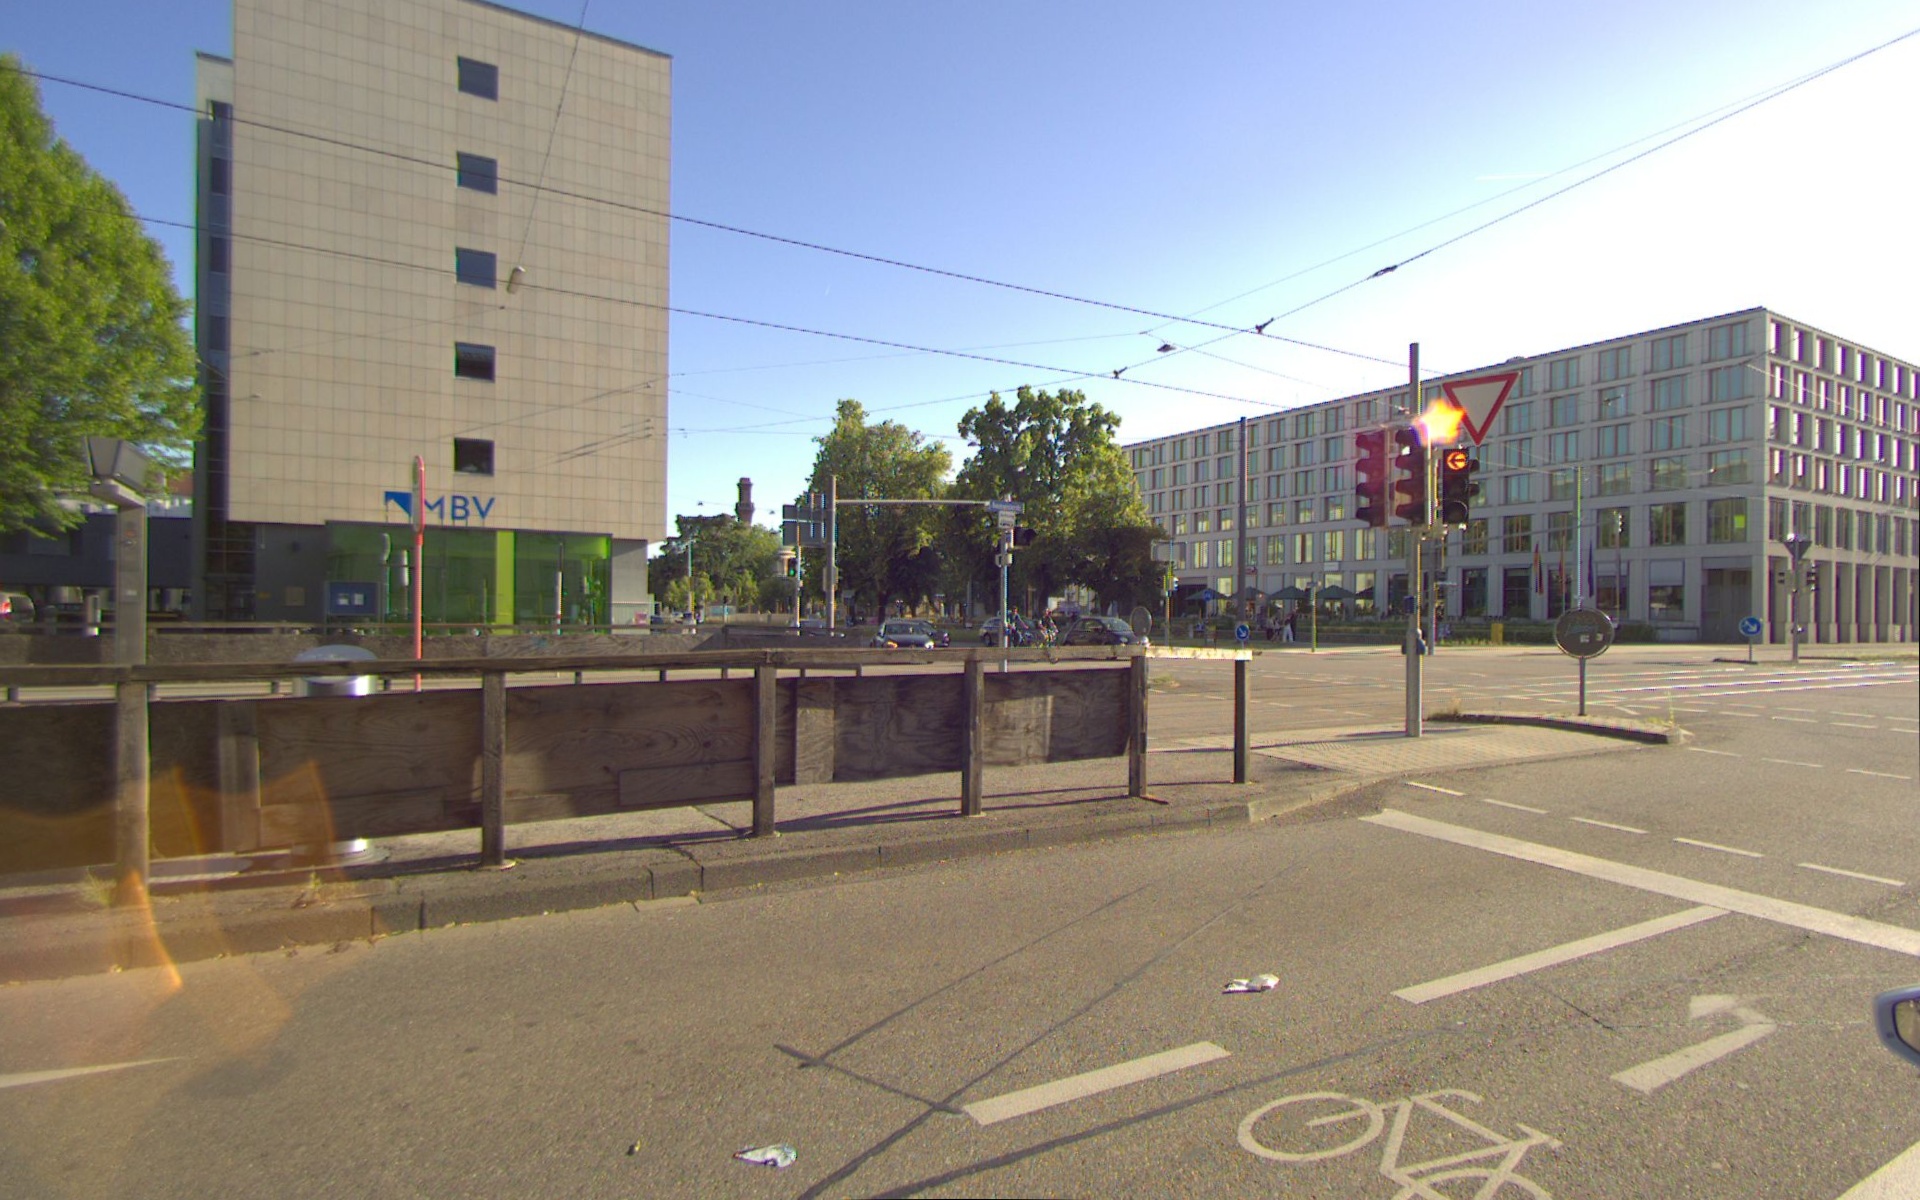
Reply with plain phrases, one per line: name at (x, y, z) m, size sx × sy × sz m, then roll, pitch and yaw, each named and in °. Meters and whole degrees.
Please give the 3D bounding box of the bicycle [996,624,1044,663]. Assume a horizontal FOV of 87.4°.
bicycle at (2.113, 1.531, 35.727) m, size 0.874 × 1.305 × 2.042 m, roll 1°, pitch -1°, yaw -24°

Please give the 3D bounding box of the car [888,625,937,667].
car at (-1.605, 1.559, 34.739) m, size 1.441 × 1.311 × 3.229 m, roll -1°, pitch 0°, yaw 1°

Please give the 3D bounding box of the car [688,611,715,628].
car at (-24.437, 1.868, 94.844) m, size 1.505 × 1.526 × 3.511 m, roll 1°, pitch 0°, yaw -32°

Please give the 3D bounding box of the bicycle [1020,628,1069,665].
bicycle at (2.767, 1.505, 32.993) m, size 0.779 × 1.137 × 1.918 m, roll 1°, pitch -1°, yaw -24°

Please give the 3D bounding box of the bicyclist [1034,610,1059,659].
bicyclist at (2.837, 1.125, 33.070) m, size 0.586 × 1.603 × 0.617 m, roll 1°, pitch -1°, yaw -24°

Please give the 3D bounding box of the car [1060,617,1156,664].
car at (5.223, 1.415, 35.858) m, size 1.505 × 1.526 × 3.511 m, roll 1°, pitch 0°, yaw -32°

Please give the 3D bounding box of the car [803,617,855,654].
car at (-5.953, 1.608, 46.168) m, size 1.745 × 1.615 × 4.287 m, roll 0°, pitch -1°, yaw 1°

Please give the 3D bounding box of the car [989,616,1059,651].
car at (2.966, 1.533, 47.254) m, size 1.505 × 1.526 × 3.511 m, roll 1°, pitch 0°, yaw -32°

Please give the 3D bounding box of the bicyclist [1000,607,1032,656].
bicyclist at (2.002, 1.120, 36.007) m, size 0.833 × 1.717 × 0.887 m, roll 1°, pitch -1°, yaw -24°

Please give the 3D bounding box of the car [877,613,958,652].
car at (-2.083, 1.489, 47.683) m, size 1.910 × 1.679 × 4.878 m, roll 0°, pitch 1°, yaw -29°
